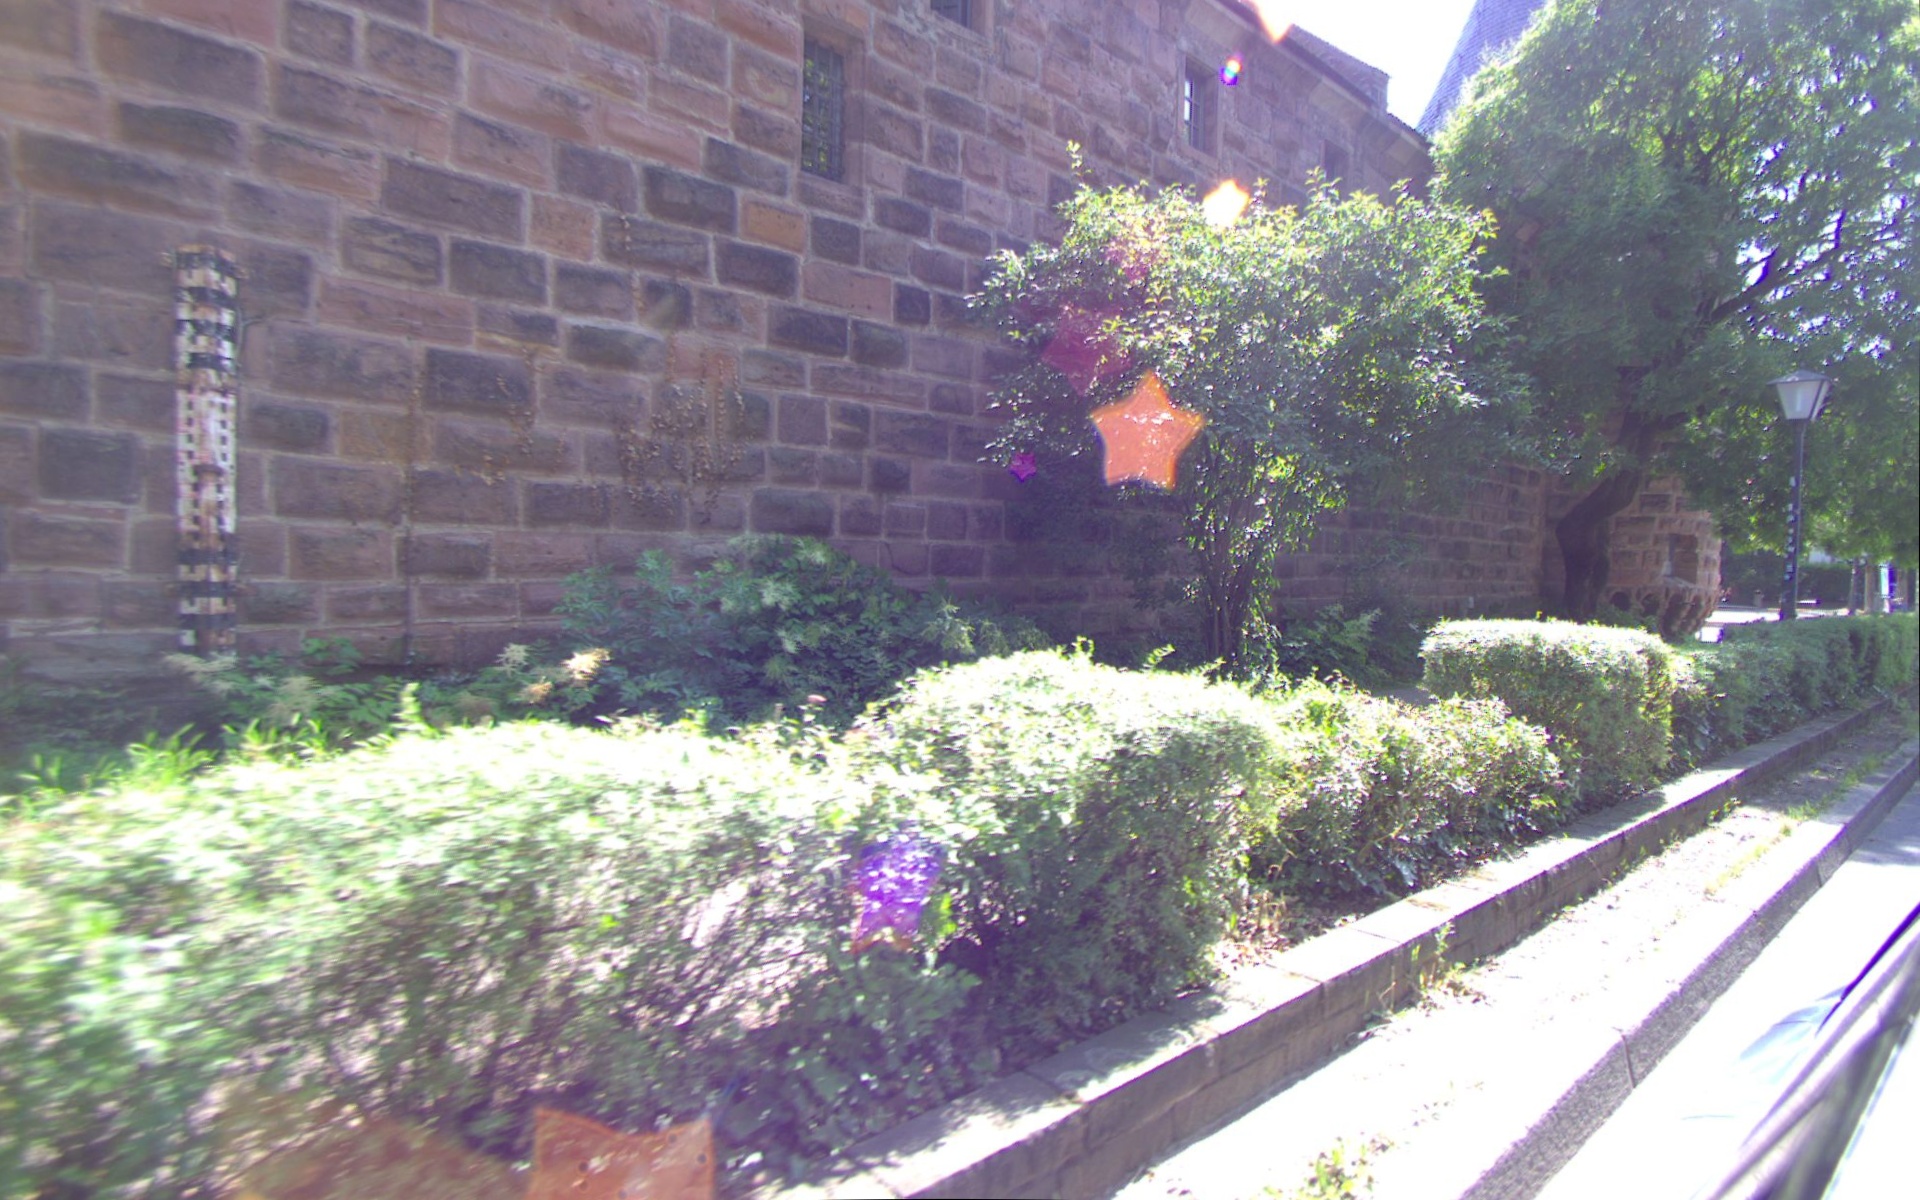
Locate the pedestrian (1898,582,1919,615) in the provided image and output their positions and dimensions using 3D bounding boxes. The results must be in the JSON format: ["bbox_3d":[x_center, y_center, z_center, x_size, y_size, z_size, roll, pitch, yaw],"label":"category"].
[{"bbox_3d":[34.926,-0.071,37.131,0.733,1.208,0.632,-1,0,-39],"label":"pedestrian"}]
